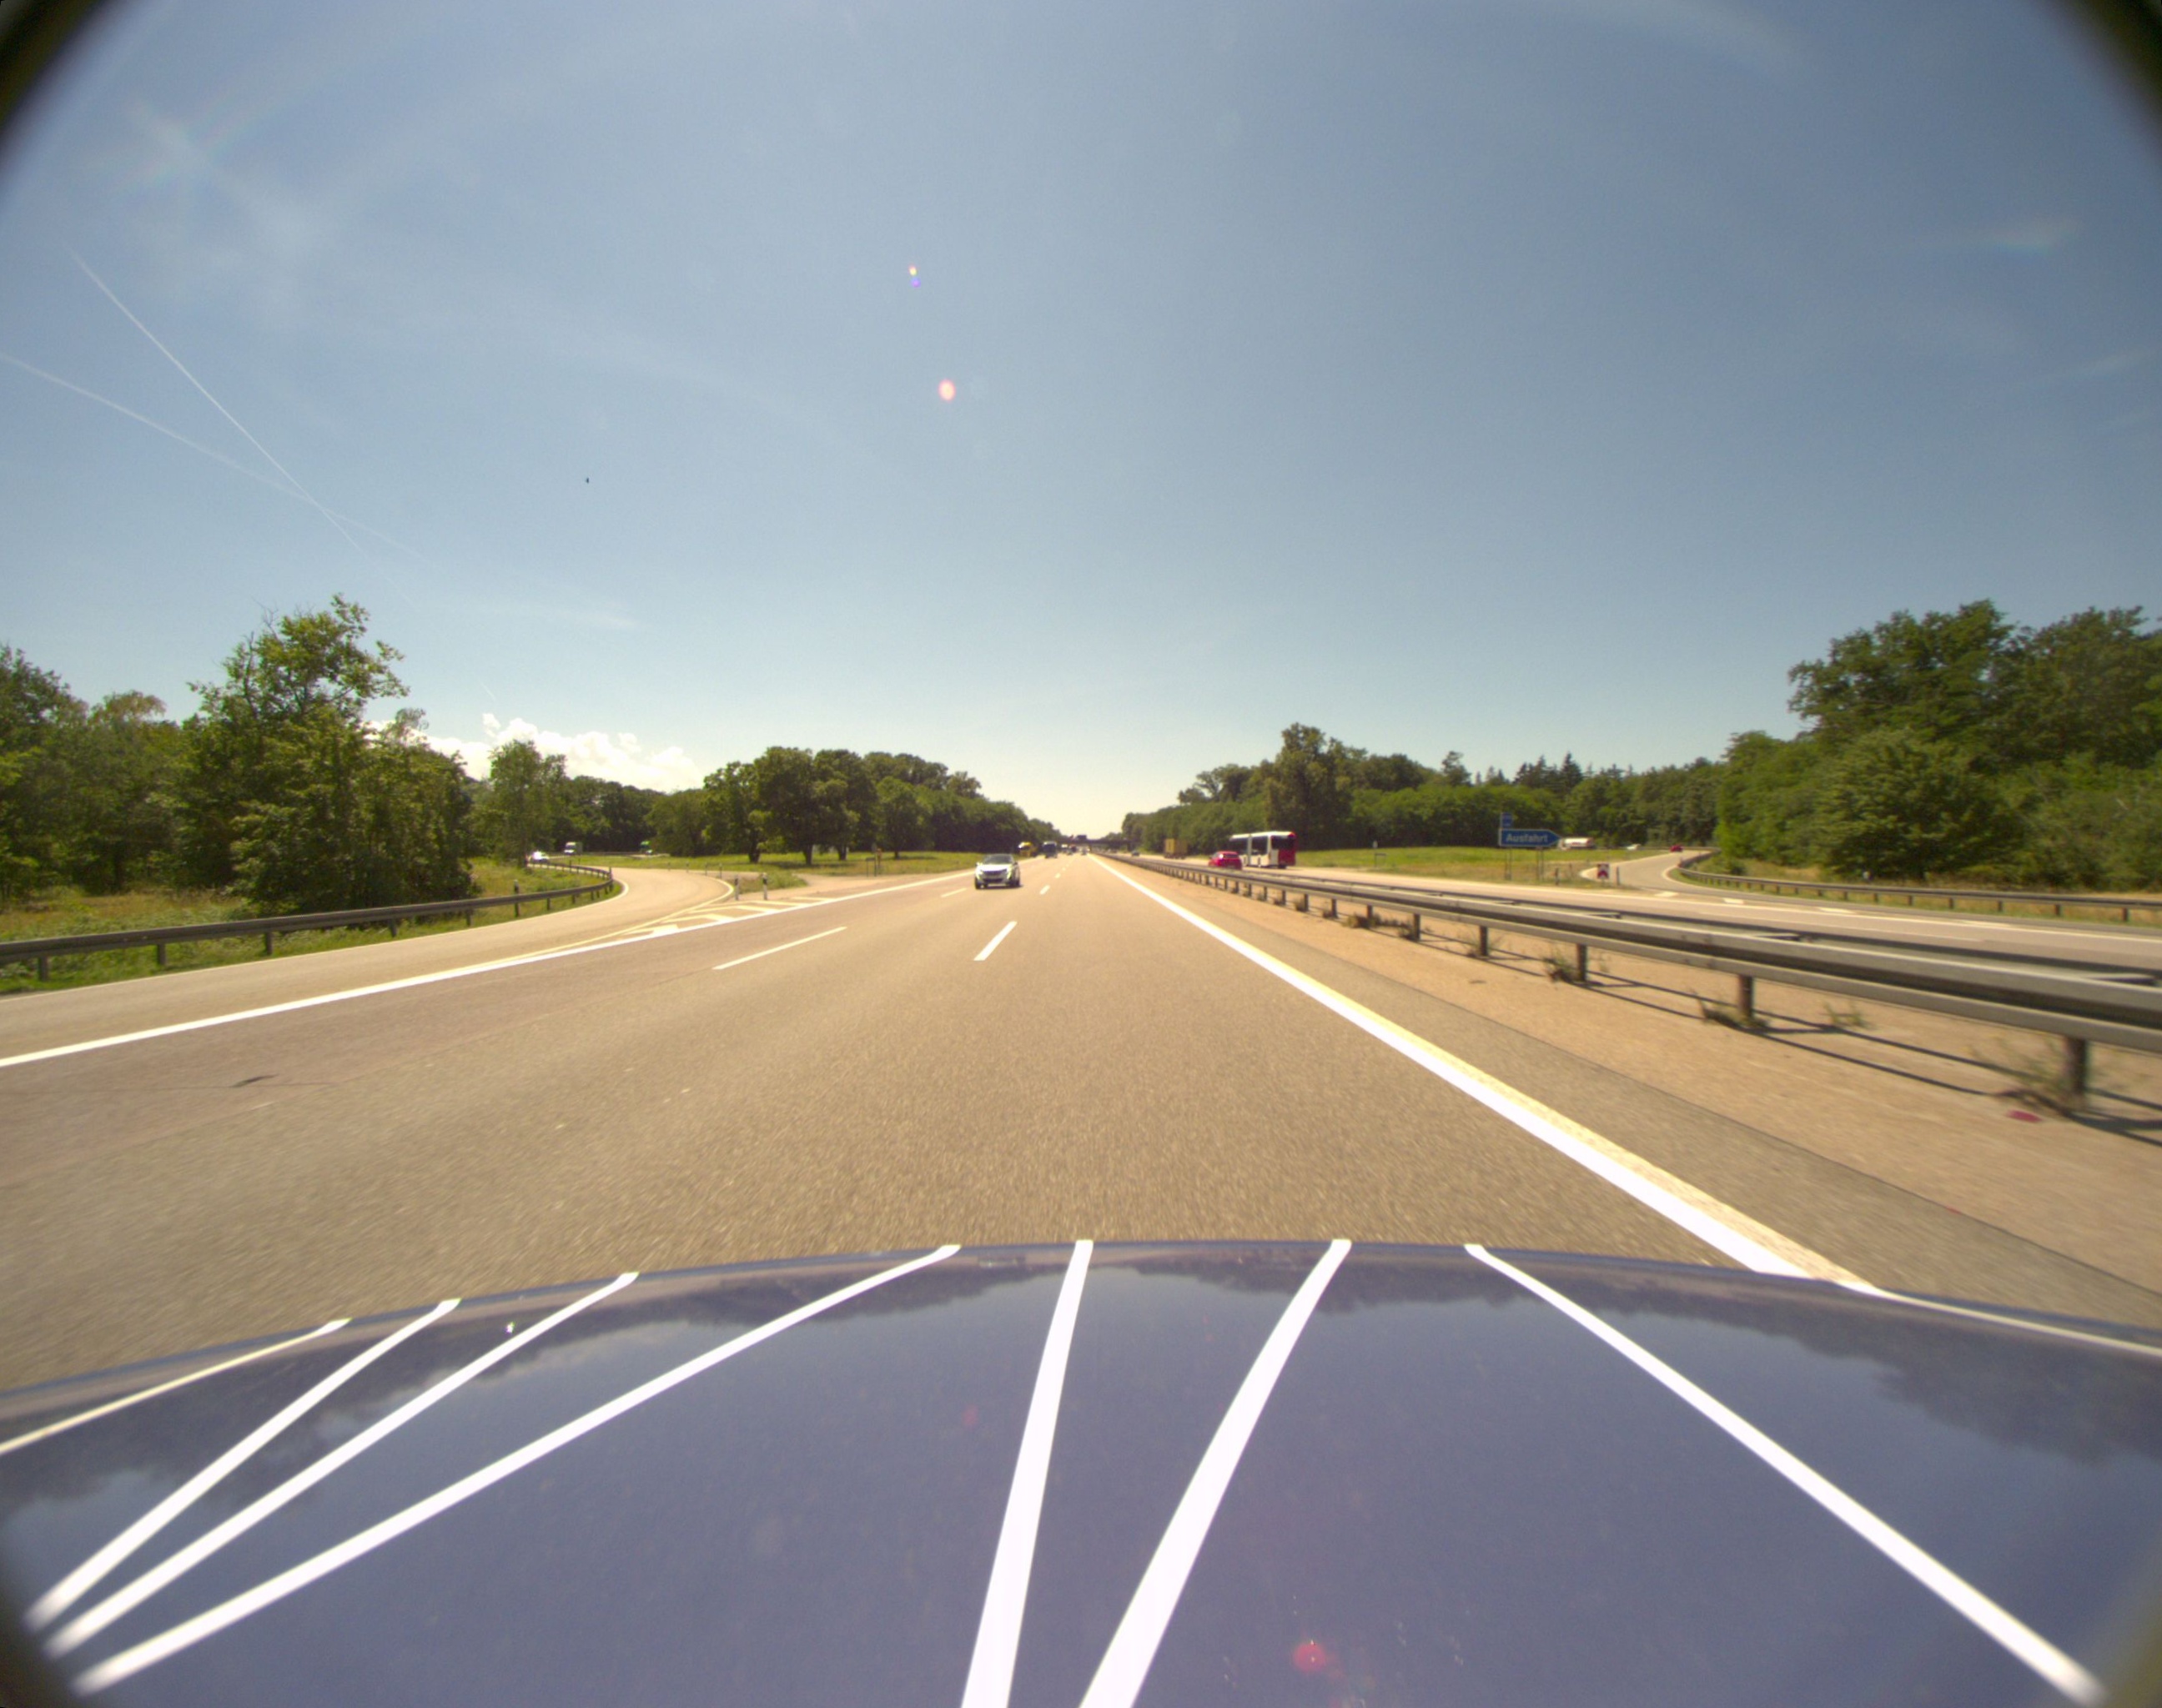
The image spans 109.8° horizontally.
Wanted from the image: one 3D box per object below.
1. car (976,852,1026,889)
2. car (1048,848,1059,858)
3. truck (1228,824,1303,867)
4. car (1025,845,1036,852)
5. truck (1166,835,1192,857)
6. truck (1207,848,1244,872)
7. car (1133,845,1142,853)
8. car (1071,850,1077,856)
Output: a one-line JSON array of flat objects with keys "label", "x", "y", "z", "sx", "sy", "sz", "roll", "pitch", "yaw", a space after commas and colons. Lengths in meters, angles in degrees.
[{"label": "car", "x": -3.662, "y": 0.719, "z": 35.440, "sx": 1.845, "sy": 1.565, "sz": 3.999, "roll": -2, "pitch": 1, "yaw": 0}, {"label": "car", "x": -6.063, "y": -0.269, "z": 167.431, "sx": 2.300, "sy": 2.002, "sz": 4.794, "roll": -1, "pitch": 1, "yaw": -1}, {"label": "truck", "x": 18.230, "y": -0.831, "z": 76.759, "sx": 3.091, "sy": 3.853, "sz": 17.544, "roll": -1, "pitch": 1, "yaw": 0}, {"label": "car", "x": -13.427, "y": -1.447, "z": 201.183, "sx": 2.562, "sy": 2.002, "sz": 6.762, "roll": -1, "pitch": 1, "yaw": -1}, {"label": "truck", "x": 18.630, "y": -1.488, "z": 145.302, "sx": 3.091, "sy": 3.853, "sz": 15.620, "roll": -2, "pitch": 1, "yaw": 1}, {"label": "truck", "x": 9.933, "y": 0.390, "z": 52.452, "sx": 1.835, "sy": 1.554, "sz": 4.309, "roll": -1, "pitch": 1, "yaw": 1}, {"label": "car", "x": 14.083, "y": -1.157, "z": 189.771, "sx": 1.998, "sy": 2.002, "sz": 3.999, "roll": -1, "pitch": 1, "yaw": 0}, {"label": "car", "x": -2.144, "y": -0.297, "z": 227.013, "sx": 1.840, "sy": 2.002, "sz": 4.000, "roll": -1, "pitch": 1, "yaw": 1}]
